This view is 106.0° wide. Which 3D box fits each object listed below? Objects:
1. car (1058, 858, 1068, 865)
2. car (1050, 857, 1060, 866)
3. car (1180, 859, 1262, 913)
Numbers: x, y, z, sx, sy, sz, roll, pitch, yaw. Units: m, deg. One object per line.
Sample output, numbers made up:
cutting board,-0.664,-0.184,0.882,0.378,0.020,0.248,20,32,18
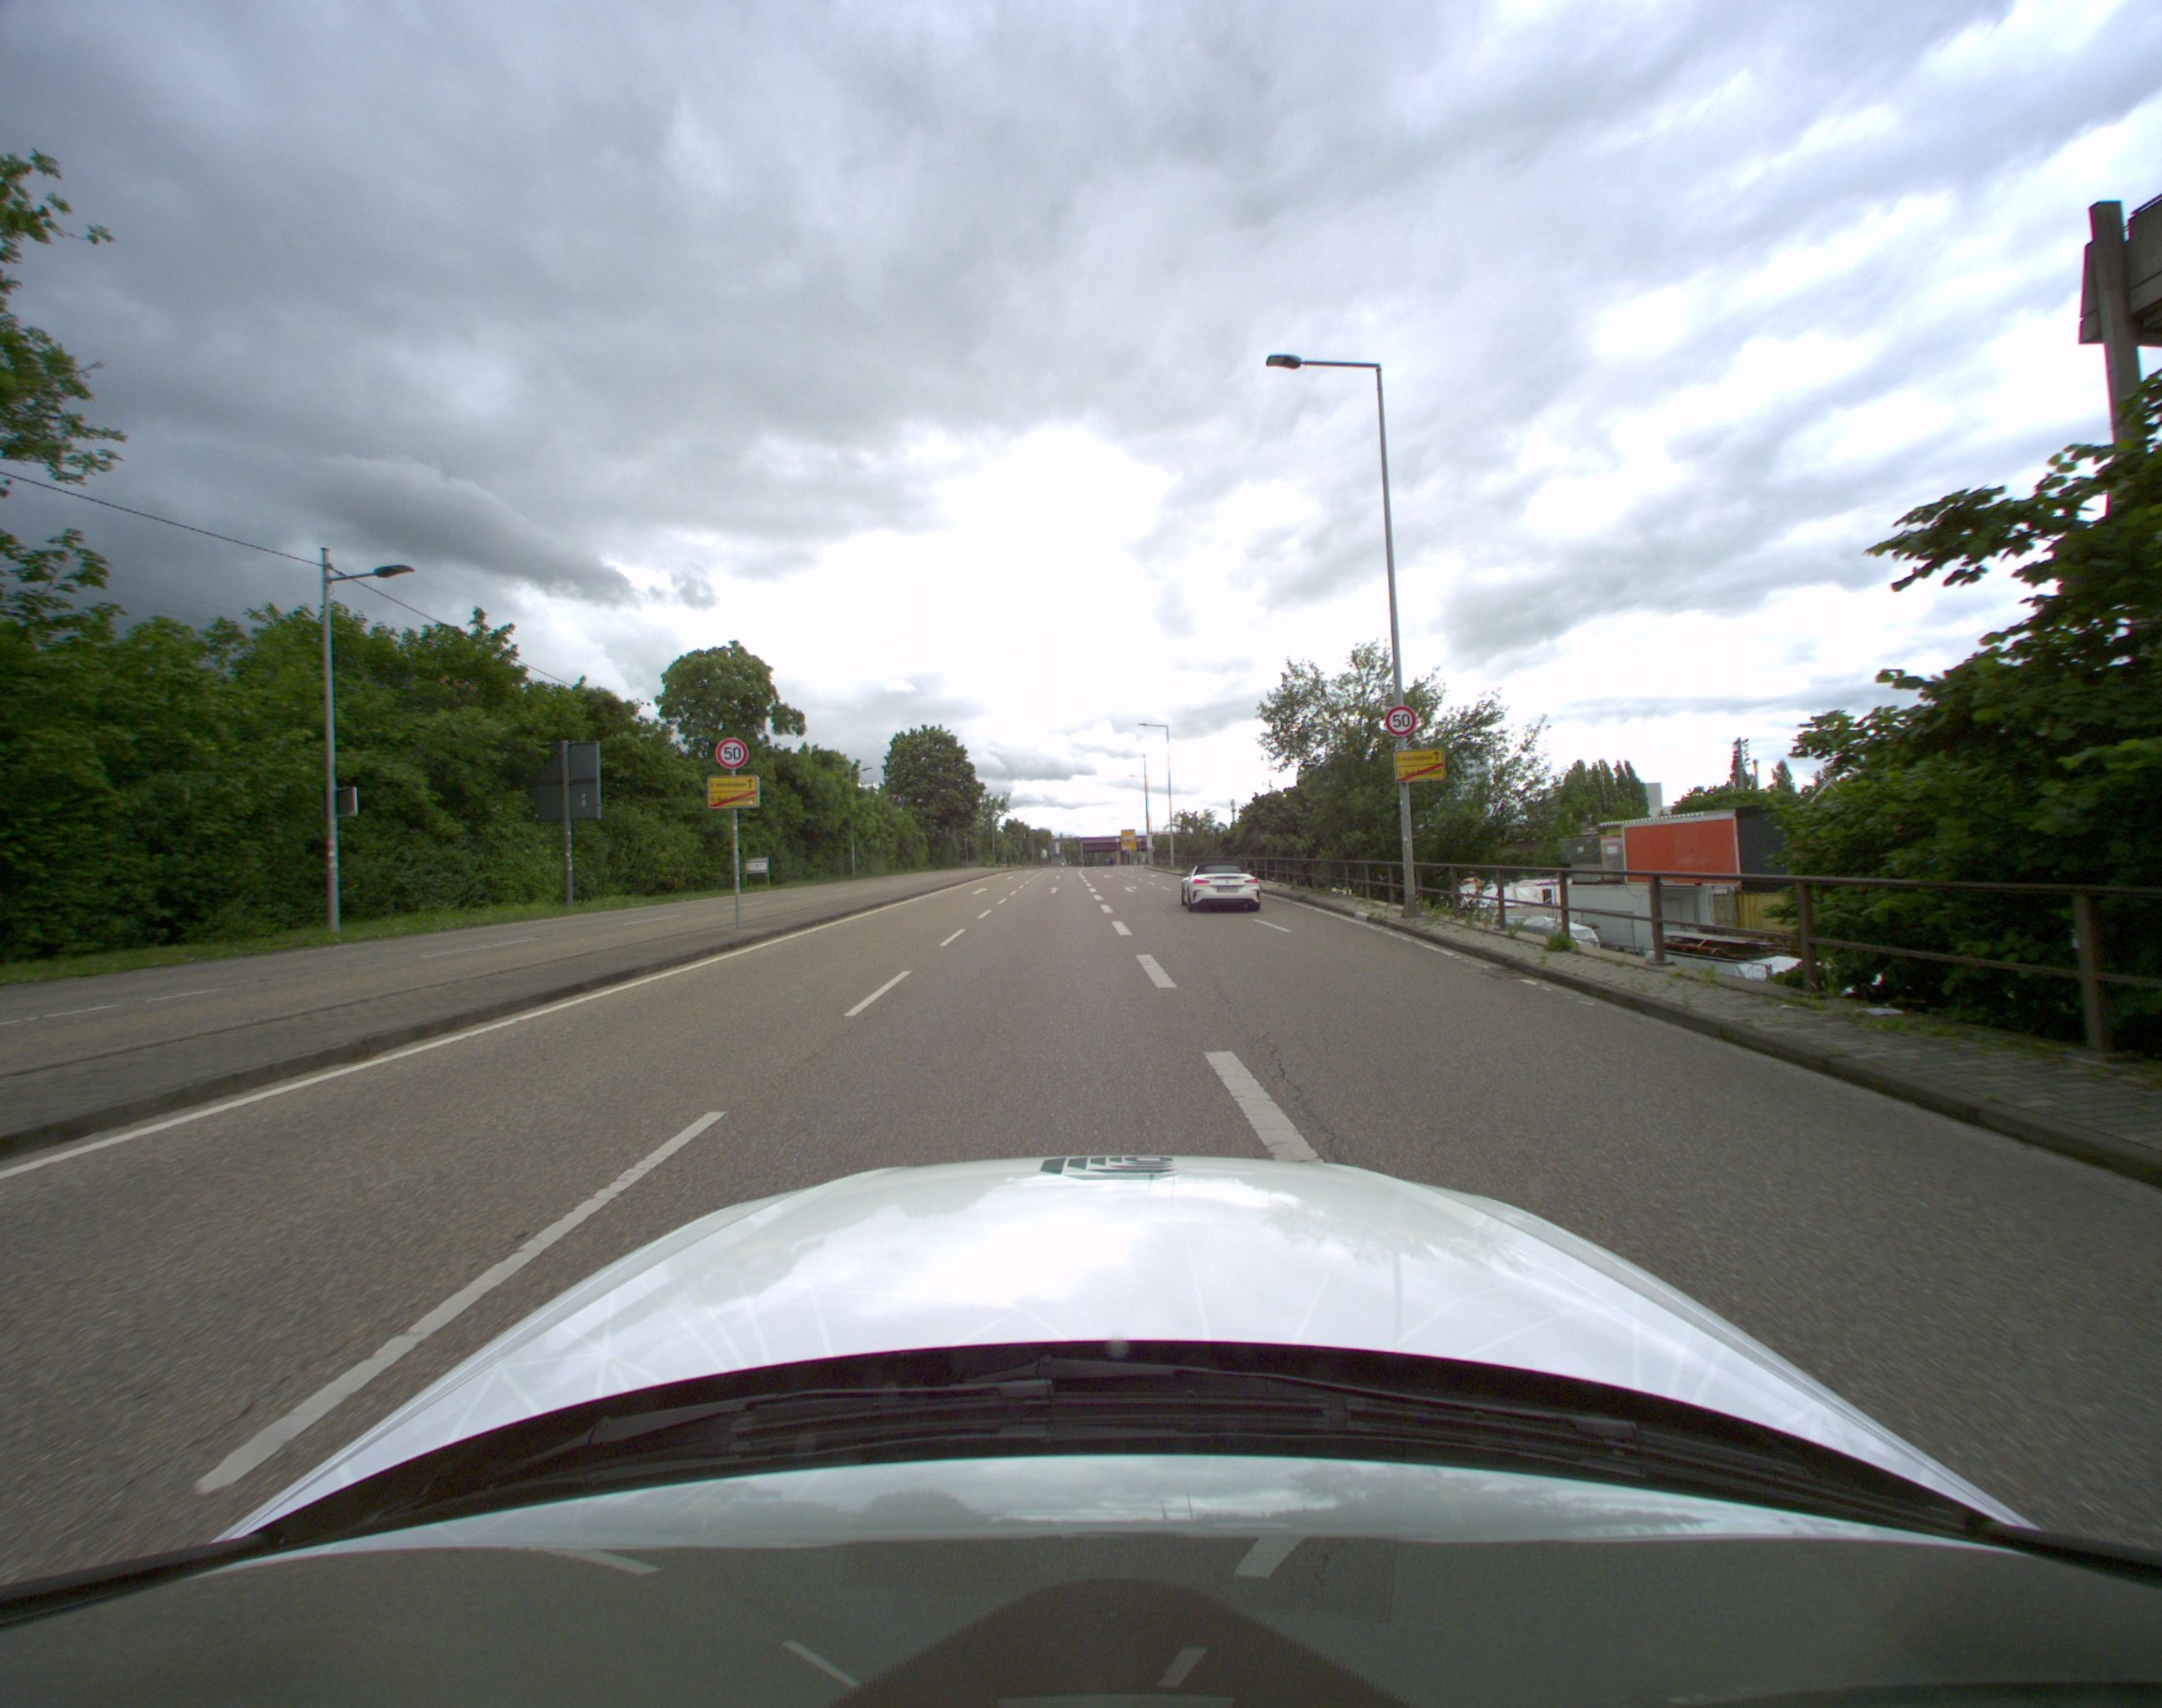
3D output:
car,-3.861,1.609,173.745,1.764,1.633,3.826,0,-1,2
car,-5.106,1.528,162.048,1.764,1.645,3.826,0,-1,2
car,3.737,0.807,22.274,1.866,1.309,3.878,0,0,4
